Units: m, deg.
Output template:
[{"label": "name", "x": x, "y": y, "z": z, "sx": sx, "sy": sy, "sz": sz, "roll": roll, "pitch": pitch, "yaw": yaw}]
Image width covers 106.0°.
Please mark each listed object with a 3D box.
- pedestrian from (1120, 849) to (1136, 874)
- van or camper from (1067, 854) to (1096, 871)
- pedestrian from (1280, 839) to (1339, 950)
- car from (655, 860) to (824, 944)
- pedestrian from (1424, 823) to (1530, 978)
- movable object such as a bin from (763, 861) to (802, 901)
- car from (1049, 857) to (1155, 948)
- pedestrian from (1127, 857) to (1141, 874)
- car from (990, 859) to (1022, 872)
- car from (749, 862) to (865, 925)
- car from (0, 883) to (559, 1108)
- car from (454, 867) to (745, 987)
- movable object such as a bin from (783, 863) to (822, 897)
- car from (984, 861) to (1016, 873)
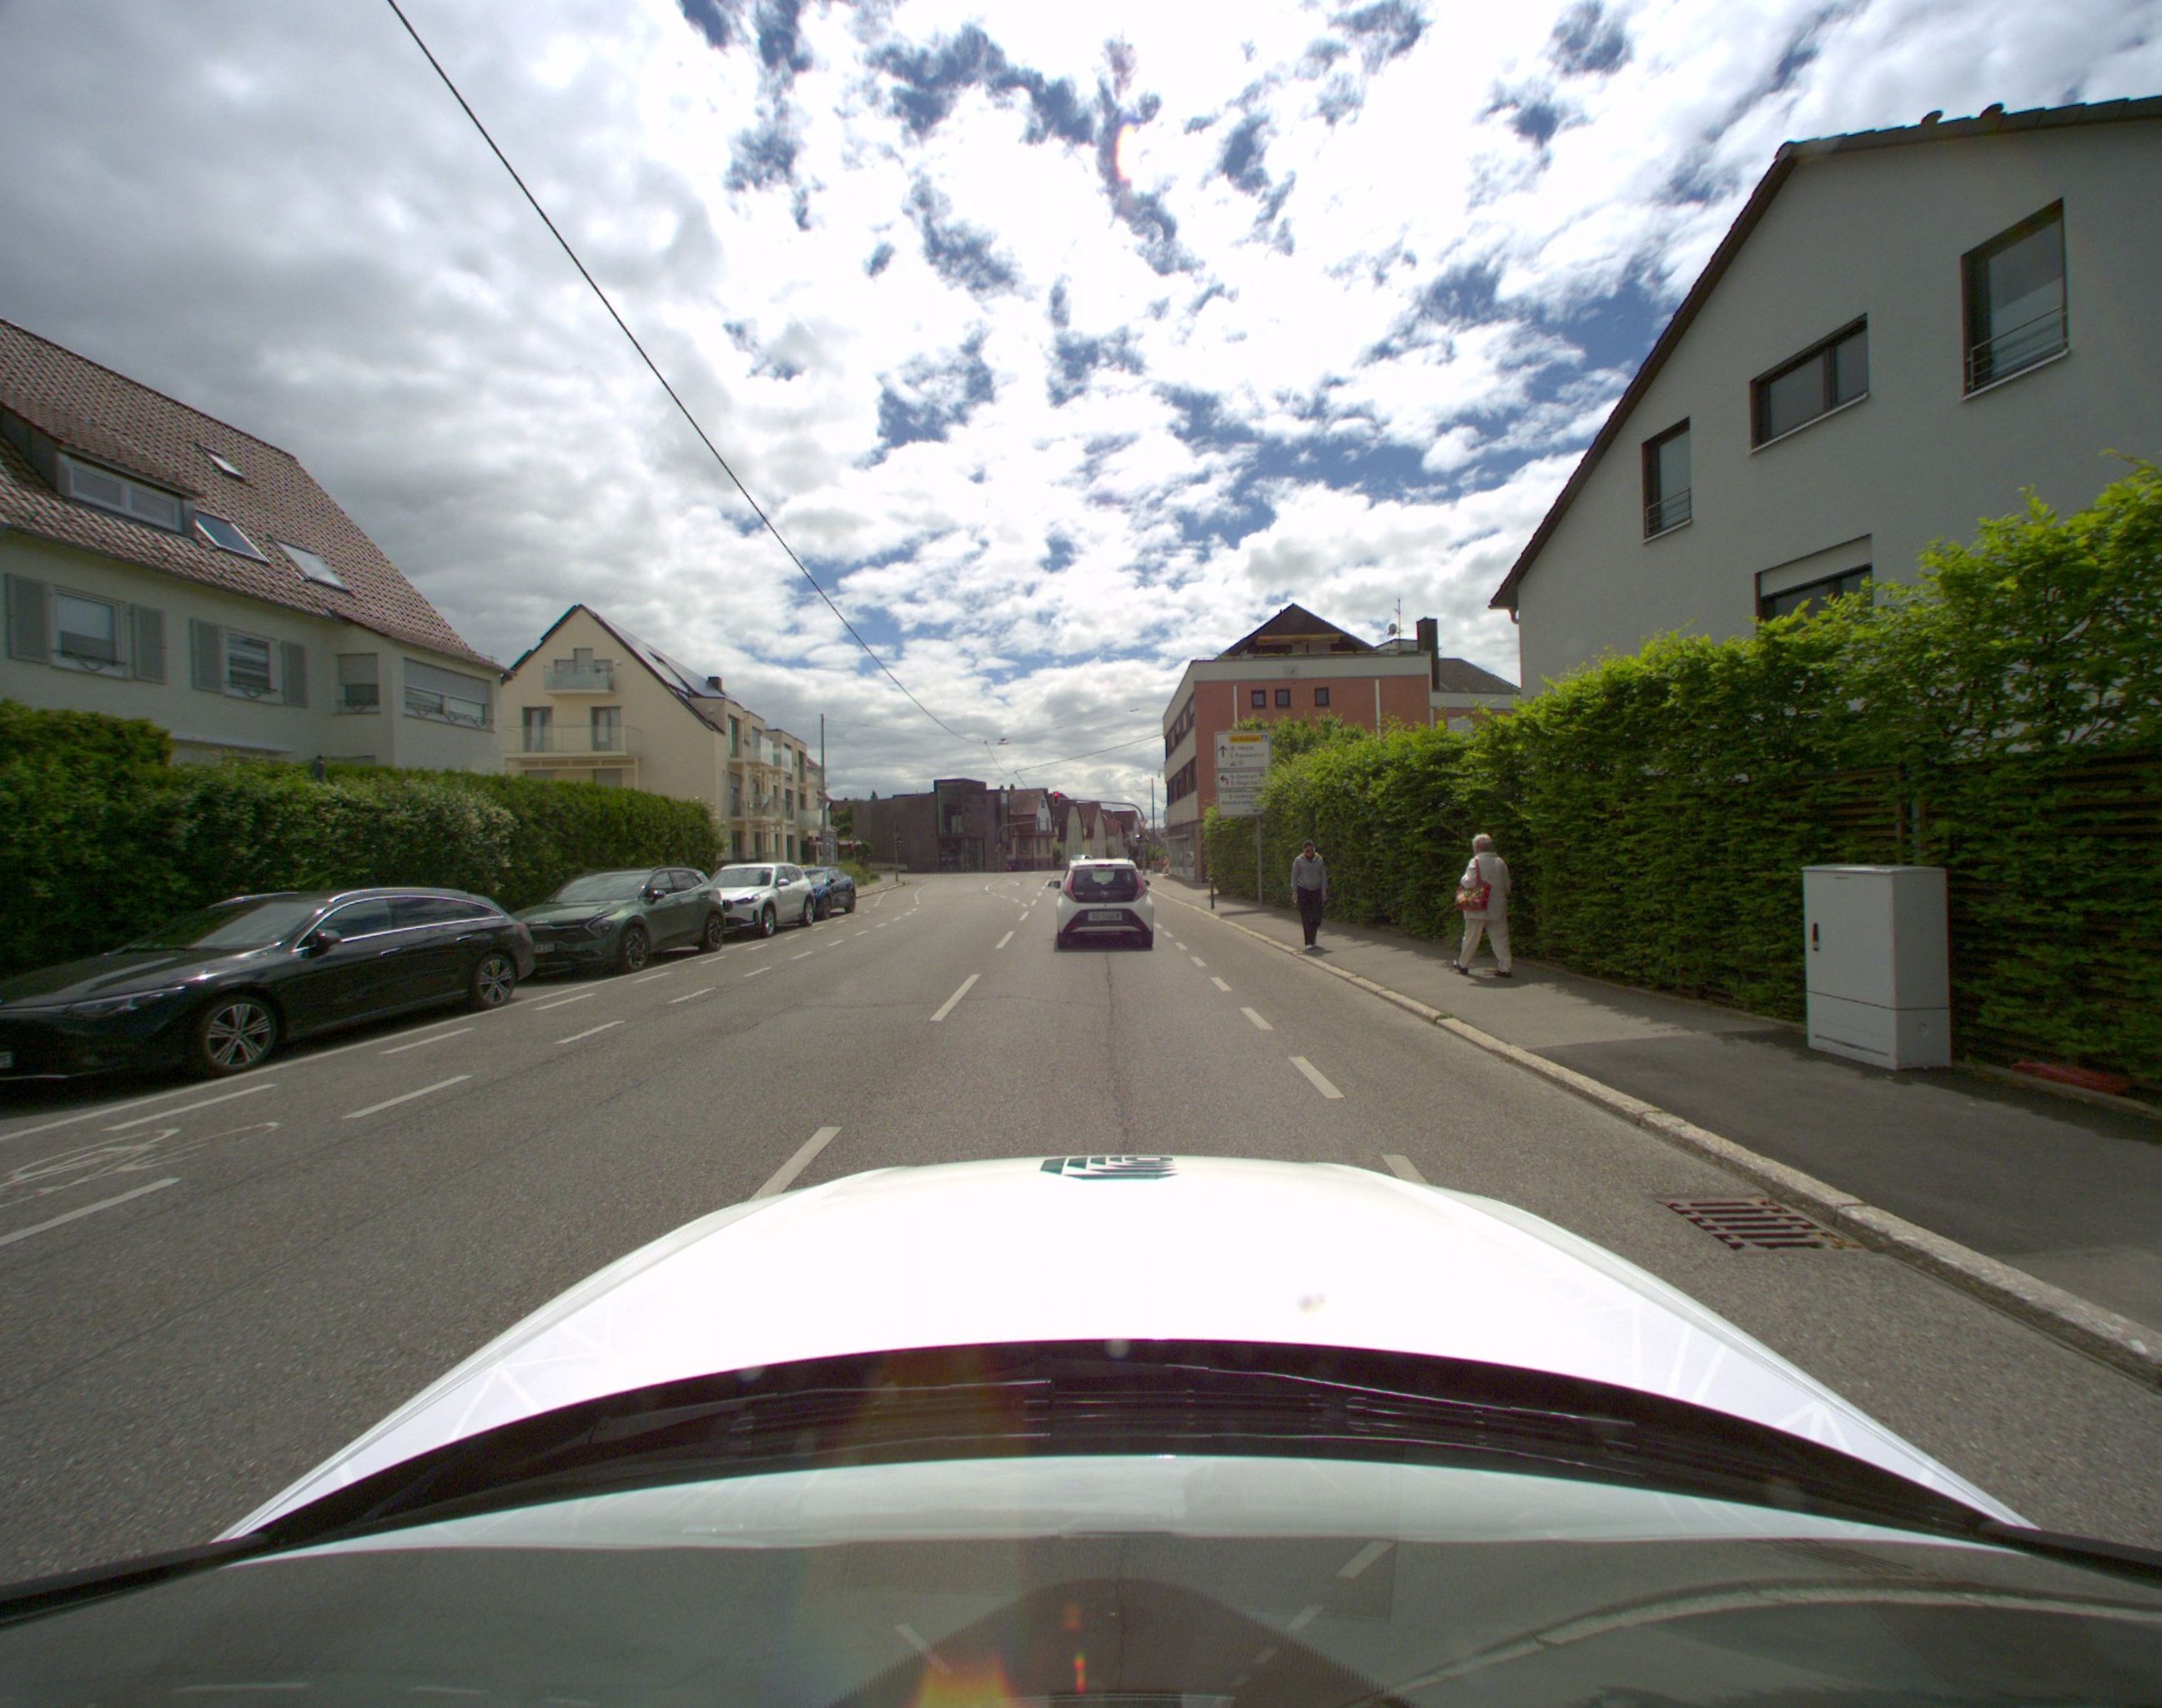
[{"label": "pedestrian", "x": 3.382, "y": 0.545, "z": 58.646, "sx": 0.827, "sy": 1.721, "sz": 0.810, "roll": -1, "pitch": 0, "yaw": -29}, {"label": "van or camper", "x": 0.126, "y": 0.974, "z": 96.918, "sx": 2.100, "sy": 1.926, "sz": 5.306, "roll": 0, "pitch": 0, "yaw": 15}, {"label": "pedestrian", "x": 3.495, "y": 0.601, "z": 12.506, "sx": 0.600, "sy": 1.605, "sz": 0.836, "roll": -3, "pitch": 0, "yaw": 1}, {"label": "car", "x": -7.733, "y": 0.996, "z": 19.000, "sx": 1.987, "sy": 1.651, "sz": 4.517, "roll": -2, "pitch": 0, "yaw": 0}, {"label": "pedestrian", "x": 4.378, "y": 0.495, "z": 9.049, "sx": 0.796, "sy": 1.617, "sz": 0.653, "roll": -3, "pitch": 0, "yaw": 1}, {"label": "movable object such as a bin", "x": -11.540, "y": 1.041, "z": 31.509, "sx": 1.062, "sy": 1.482, "sz": 1.213, "roll": -2, "pitch": 0, "yaw": -2}, {"label": "car", "x": 0.368, "y": 0.781, "z": 14.700, "sx": 1.691, "sy": 1.456, "sz": 3.299, "roll": 0, "pitch": 0, "yaw": 1}, {"label": "pedestrian", "x": 3.772, "y": 0.799, "z": 58.029, "sx": 0.738, "sy": 1.221, "sz": 0.640, "roll": -1, "pitch": 0, "yaw": -29}, {"label": "car", "x": -9.376, "y": 1.466, "z": 101.978, "sx": 3.591, "sy": 1.605, "sz": 1.696, "roll": 0, "pitch": -1, "yaw": 11}, {"label": "car", "x": -7.986, "y": 1.092, "z": 24.225, "sx": 1.988, "sy": 1.587, "sz": 4.486, "roll": -2, "pitch": 0, "yaw": -2}, {"label": "car", "x": -7.807, "y": 1.111, "z": 8.132, "sx": 1.986, "sy": 1.408, "sz": 4.692, "roll": -2, "pitch": 0, "yaw": 2}, {"label": "car", "x": -7.773, "y": 1.066, "z": 13.849, "sx": 1.986, "sy": 1.564, "sz": 4.692, "roll": -2, "pitch": 0, "yaw": 2}, {"label": "movable object such as a bin", "x": -11.189, "y": 1.037, "z": 32.760, "sx": 1.061, "sy": 1.313, "sz": 1.214, "roll": -2, "pitch": 0, "yaw": 1}, {"label": "car", "x": -9.953, "y": 1.543, "z": 99.848, "sx": 3.591, "sy": 1.419, "sz": 1.696, "roll": 0, "pitch": -1, "yaw": 11}]
